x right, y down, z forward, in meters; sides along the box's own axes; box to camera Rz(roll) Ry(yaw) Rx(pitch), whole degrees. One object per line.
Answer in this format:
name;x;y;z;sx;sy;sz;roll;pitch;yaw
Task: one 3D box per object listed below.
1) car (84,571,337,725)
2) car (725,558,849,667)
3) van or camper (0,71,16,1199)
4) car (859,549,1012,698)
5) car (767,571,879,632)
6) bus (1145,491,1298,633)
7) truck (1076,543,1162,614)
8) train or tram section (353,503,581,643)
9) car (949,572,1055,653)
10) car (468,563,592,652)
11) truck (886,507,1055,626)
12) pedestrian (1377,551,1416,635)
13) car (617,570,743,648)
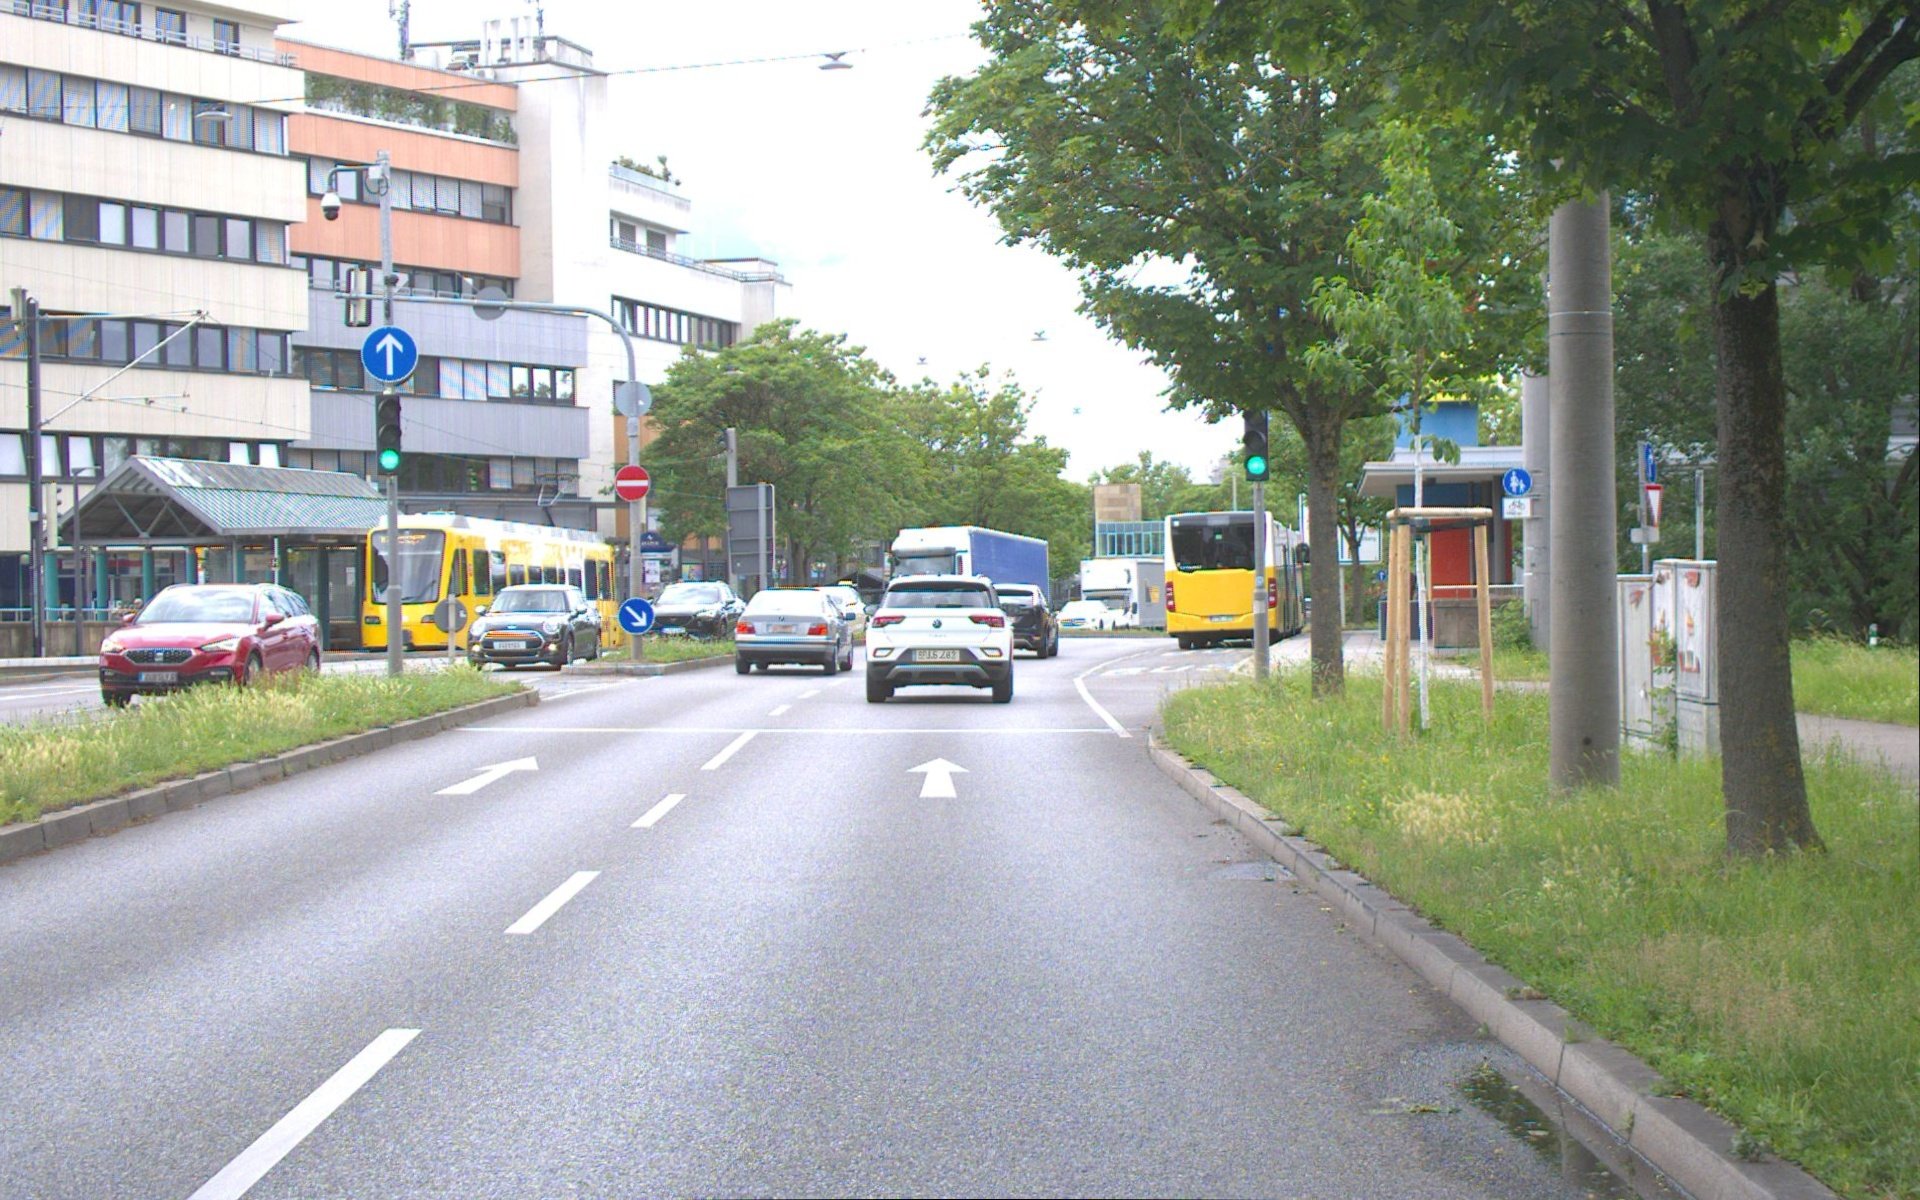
car;-8.976;0.526;41.586;1.993;1.585;4.835;1;2;0
car;-2.799;0.171;56.341;1.700;1.510;3.737;0;4;2
van or camper;-3.247;0.205;4.851;2.343;2.653;5.966;1;1;-2
car;-0.265;0.253;42.956;1.700;1.543;3.736;3;3;2
car;-3.465;0.022;87.903;1.966;1.493;4.773;0;1;9
bus;6.361;-0.911;82.215;2.955;3.179;9.925;0;1;8
truck;7.129;-0.965;152.914;3.084;3.018;9.356;0;0;7
train or tram section;-12.871;-0.690;91.227;2.560;3.399;13.078;-1;0;7
car;0.883;0.237;70.038;1.700;1.510;3.493;0;2;8
car;-7.237;0.138;58.137;1.614;1.441;3.653;-1;0;0
truck;0.588;-1.248;125.881;2.955;4.066;16.593;0;1;12
pedestrian;9.412;-0.153;74.090;0.709;1.809;0.764;0;0;-2
car;-6.044;0.199;74.727;1.898;1.612;4.274;-1;0;7
